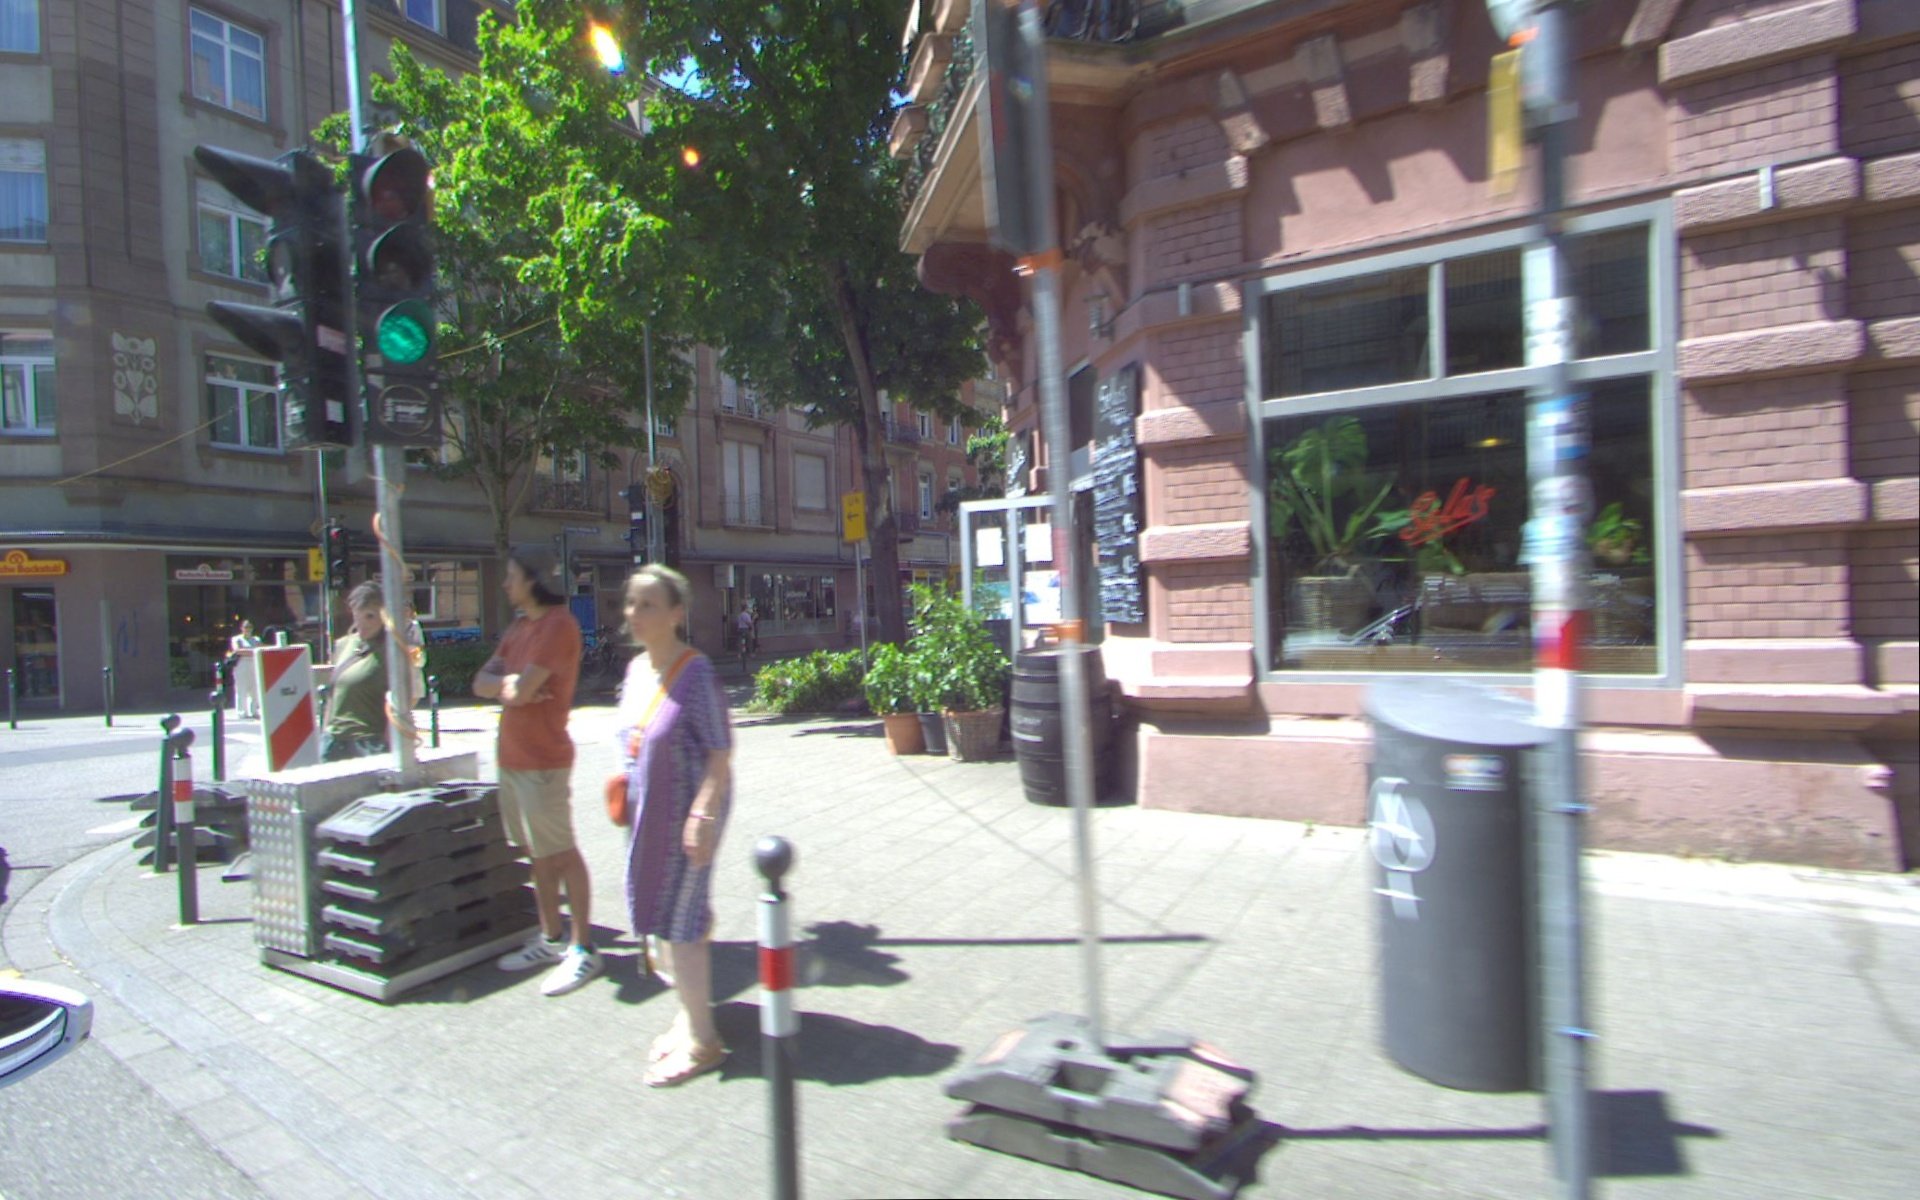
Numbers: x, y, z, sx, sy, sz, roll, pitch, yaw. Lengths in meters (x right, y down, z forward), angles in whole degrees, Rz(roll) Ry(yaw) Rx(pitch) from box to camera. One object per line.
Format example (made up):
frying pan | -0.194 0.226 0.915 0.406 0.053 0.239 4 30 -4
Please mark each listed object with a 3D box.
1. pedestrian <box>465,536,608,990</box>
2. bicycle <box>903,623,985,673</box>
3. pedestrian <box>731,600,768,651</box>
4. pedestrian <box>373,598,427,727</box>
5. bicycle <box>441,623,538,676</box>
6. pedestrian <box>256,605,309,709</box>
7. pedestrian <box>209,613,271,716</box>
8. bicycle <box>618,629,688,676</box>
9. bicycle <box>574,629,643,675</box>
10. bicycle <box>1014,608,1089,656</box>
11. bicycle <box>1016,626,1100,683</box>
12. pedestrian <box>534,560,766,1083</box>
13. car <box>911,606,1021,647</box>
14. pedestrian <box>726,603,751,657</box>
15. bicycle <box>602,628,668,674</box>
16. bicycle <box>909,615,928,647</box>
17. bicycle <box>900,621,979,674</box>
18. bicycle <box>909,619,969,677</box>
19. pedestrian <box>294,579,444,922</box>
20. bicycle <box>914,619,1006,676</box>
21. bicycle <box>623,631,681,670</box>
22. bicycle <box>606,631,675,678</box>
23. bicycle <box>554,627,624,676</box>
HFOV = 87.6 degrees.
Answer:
pedestrian | -1.685 0.613 3.991 0.396 1.697 0.331 -1 1 38
bicycle | -0.291 0.929 19.820 0.502 0.883 2.062 -1 0 35
pedestrian | -6.934 0.839 33.000 0.776 1.655 0.854 -1 1 31
pedestrian | -7.907 0.866 14.132 0.473 1.755 0.865 -2 -1 -39
bicycle | -11.006 1.133 23.464 1.965 1.147 0.512 -1 0 -41
pedestrian | -12.087 0.997 17.862 0.463 1.794 0.575 2 4 23
pedestrian | -12.334 1.090 17.167 0.415 1.669 0.701 2 4 23
bicycle | -7.188 1.208 23.524 0.463 1.010 1.758 1 1 27
bicycle | -8.623 1.259 24.604 0.463 1.010 1.758 1 1 27
bicycle | 1.845 0.615 19.861 0.502 0.883 2.062 -1 0 35
bicycle | 1.745 0.938 17.575 0.502 0.883 2.062 -1 0 35
pedestrian | -1.013 0.665 3.305 0.431 1.564 0.491 -1 3 37
car | 0.223 0.971 37.829 3.795 1.458 1.784 -1 1 30
pedestrian | -6.906 0.933 31.249 0.552 1.636 0.489 -1 1 37
bicycle | -7.898 1.235 24.396 0.463 1.019 1.682 1 1 27
bicycle | -1.462 1.072 35.399 0.534 1.059 1.937 -2 0 -6
bicycle | -0.354 0.843 18.261 0.502 0.883 1.734 -1 0 35
bicycle | -0.419 0.992 20.947 0.501 1.121 1.778 -2 0 25
pedestrian | -2.907 0.696 4.931 0.473 1.581 0.458 -1 0 38
bicycle | 0.025 0.810 17.496 0.502 0.883 2.062 -1 0 35
bicycle | -8.616 1.397 28.063 0.497 1.010 1.722 1 1 27
bicycle | -7.602 1.283 23.885 0.463 1.010 1.758 1 1 27
bicycle | -9.137 1.250 24.726 0.463 1.095 1.758 1 1 27
